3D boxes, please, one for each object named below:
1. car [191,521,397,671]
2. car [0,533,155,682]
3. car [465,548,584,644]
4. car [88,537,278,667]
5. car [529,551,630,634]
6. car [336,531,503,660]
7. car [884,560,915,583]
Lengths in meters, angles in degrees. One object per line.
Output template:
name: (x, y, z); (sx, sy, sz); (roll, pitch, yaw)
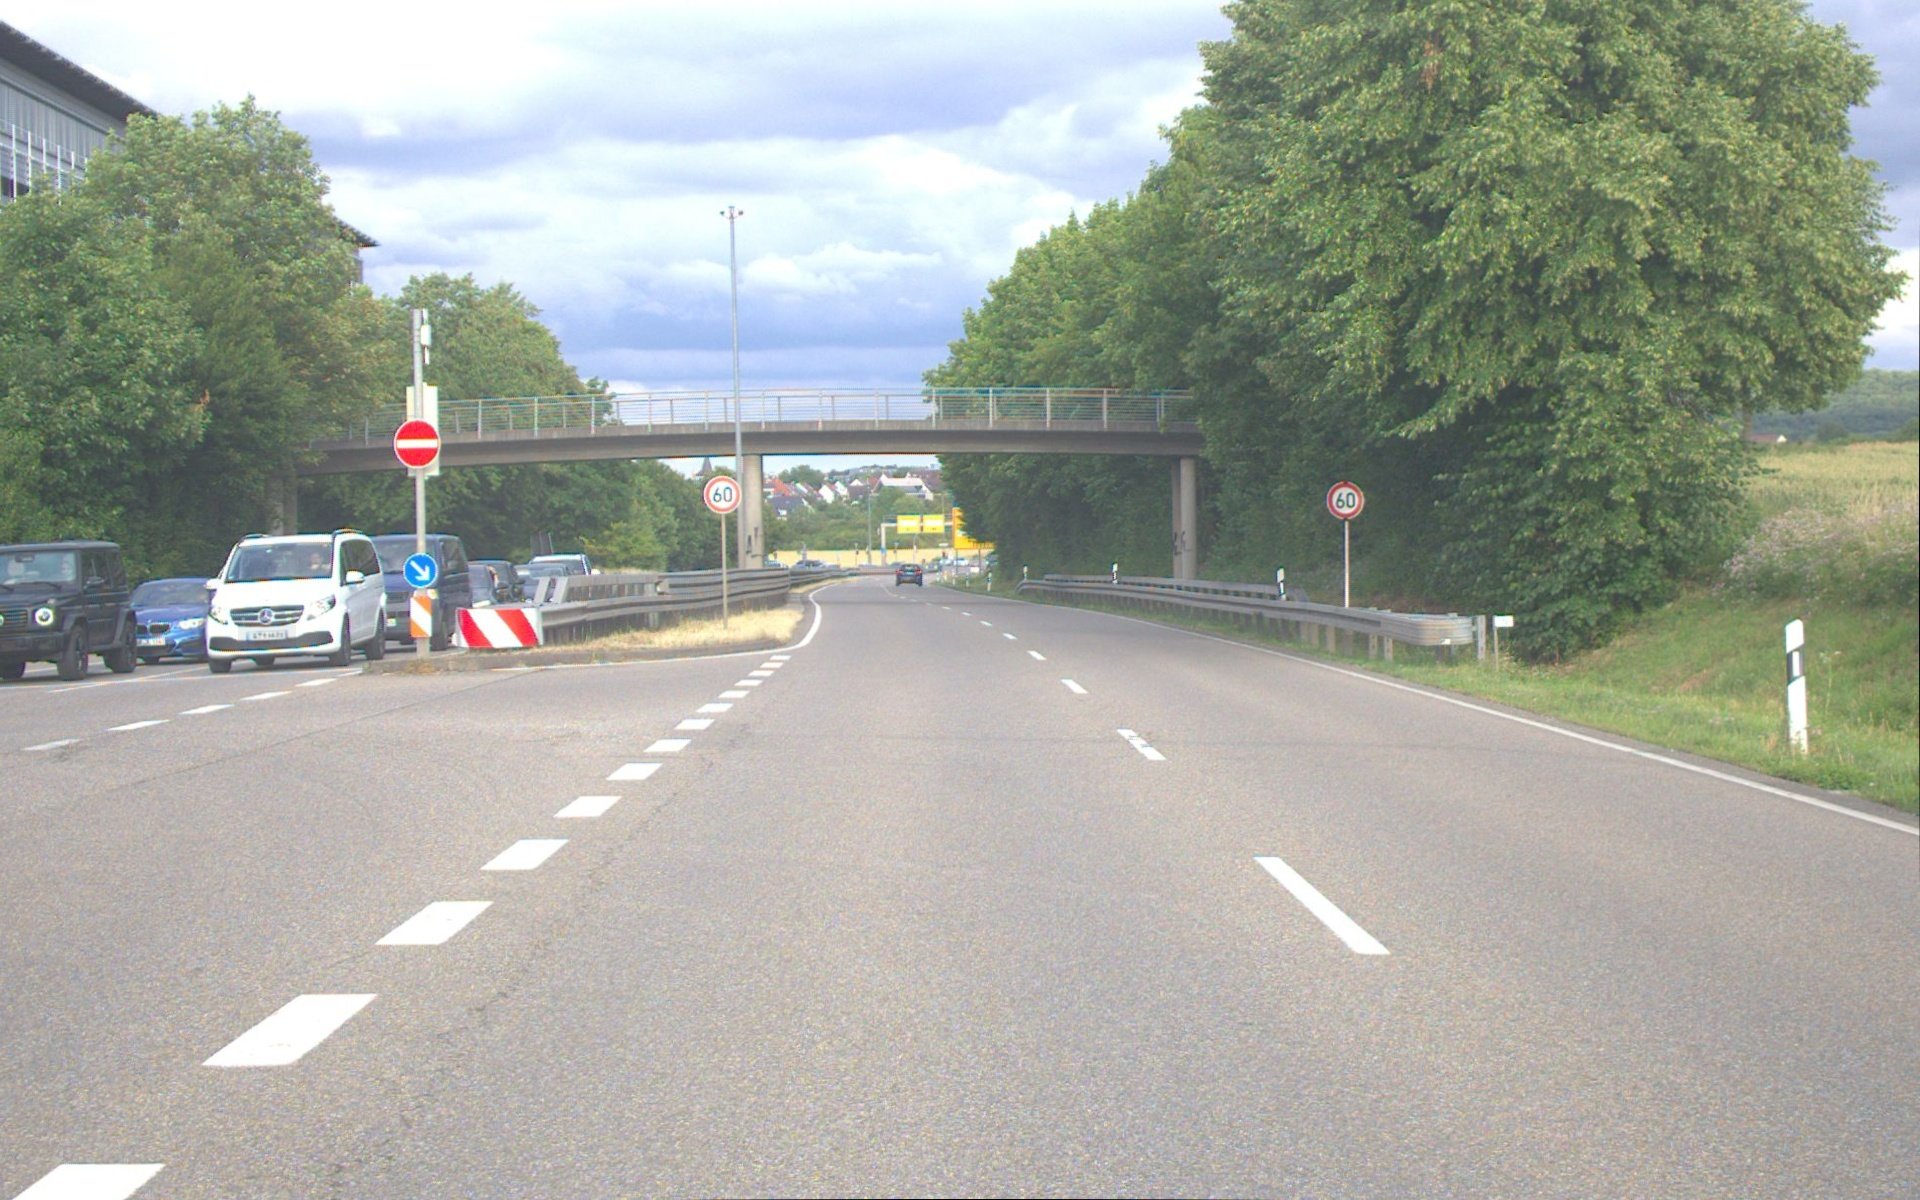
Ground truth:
car: (-9.486, -0.083, 49.372); (2.083, 2.007, 5.217); (1, 0, -2)
car: (-13.120, 0.064, 49.262); (2.083, 2.007, 5.217); (1, 0, -2)
car: (-9.547, -0.113, 75.655); (2.083, 2.007, 5.217); (1, 0, -2)
car: (-12.752, 0.002, 56.763); (2.083, 2.007, 5.217); (1, 0, -2)
car: (-9.584, -0.216, 86.968); (2.083, 2.007, 5.217); (1, 0, -2)
car: (-8.908, -0.101, 57.109); (2.083, 2.007, 5.217); (1, 0, -2)
car: (-4.194, -1.944, 237.348); (1.879, 1.547, 4.001); (1, 0, -5)
